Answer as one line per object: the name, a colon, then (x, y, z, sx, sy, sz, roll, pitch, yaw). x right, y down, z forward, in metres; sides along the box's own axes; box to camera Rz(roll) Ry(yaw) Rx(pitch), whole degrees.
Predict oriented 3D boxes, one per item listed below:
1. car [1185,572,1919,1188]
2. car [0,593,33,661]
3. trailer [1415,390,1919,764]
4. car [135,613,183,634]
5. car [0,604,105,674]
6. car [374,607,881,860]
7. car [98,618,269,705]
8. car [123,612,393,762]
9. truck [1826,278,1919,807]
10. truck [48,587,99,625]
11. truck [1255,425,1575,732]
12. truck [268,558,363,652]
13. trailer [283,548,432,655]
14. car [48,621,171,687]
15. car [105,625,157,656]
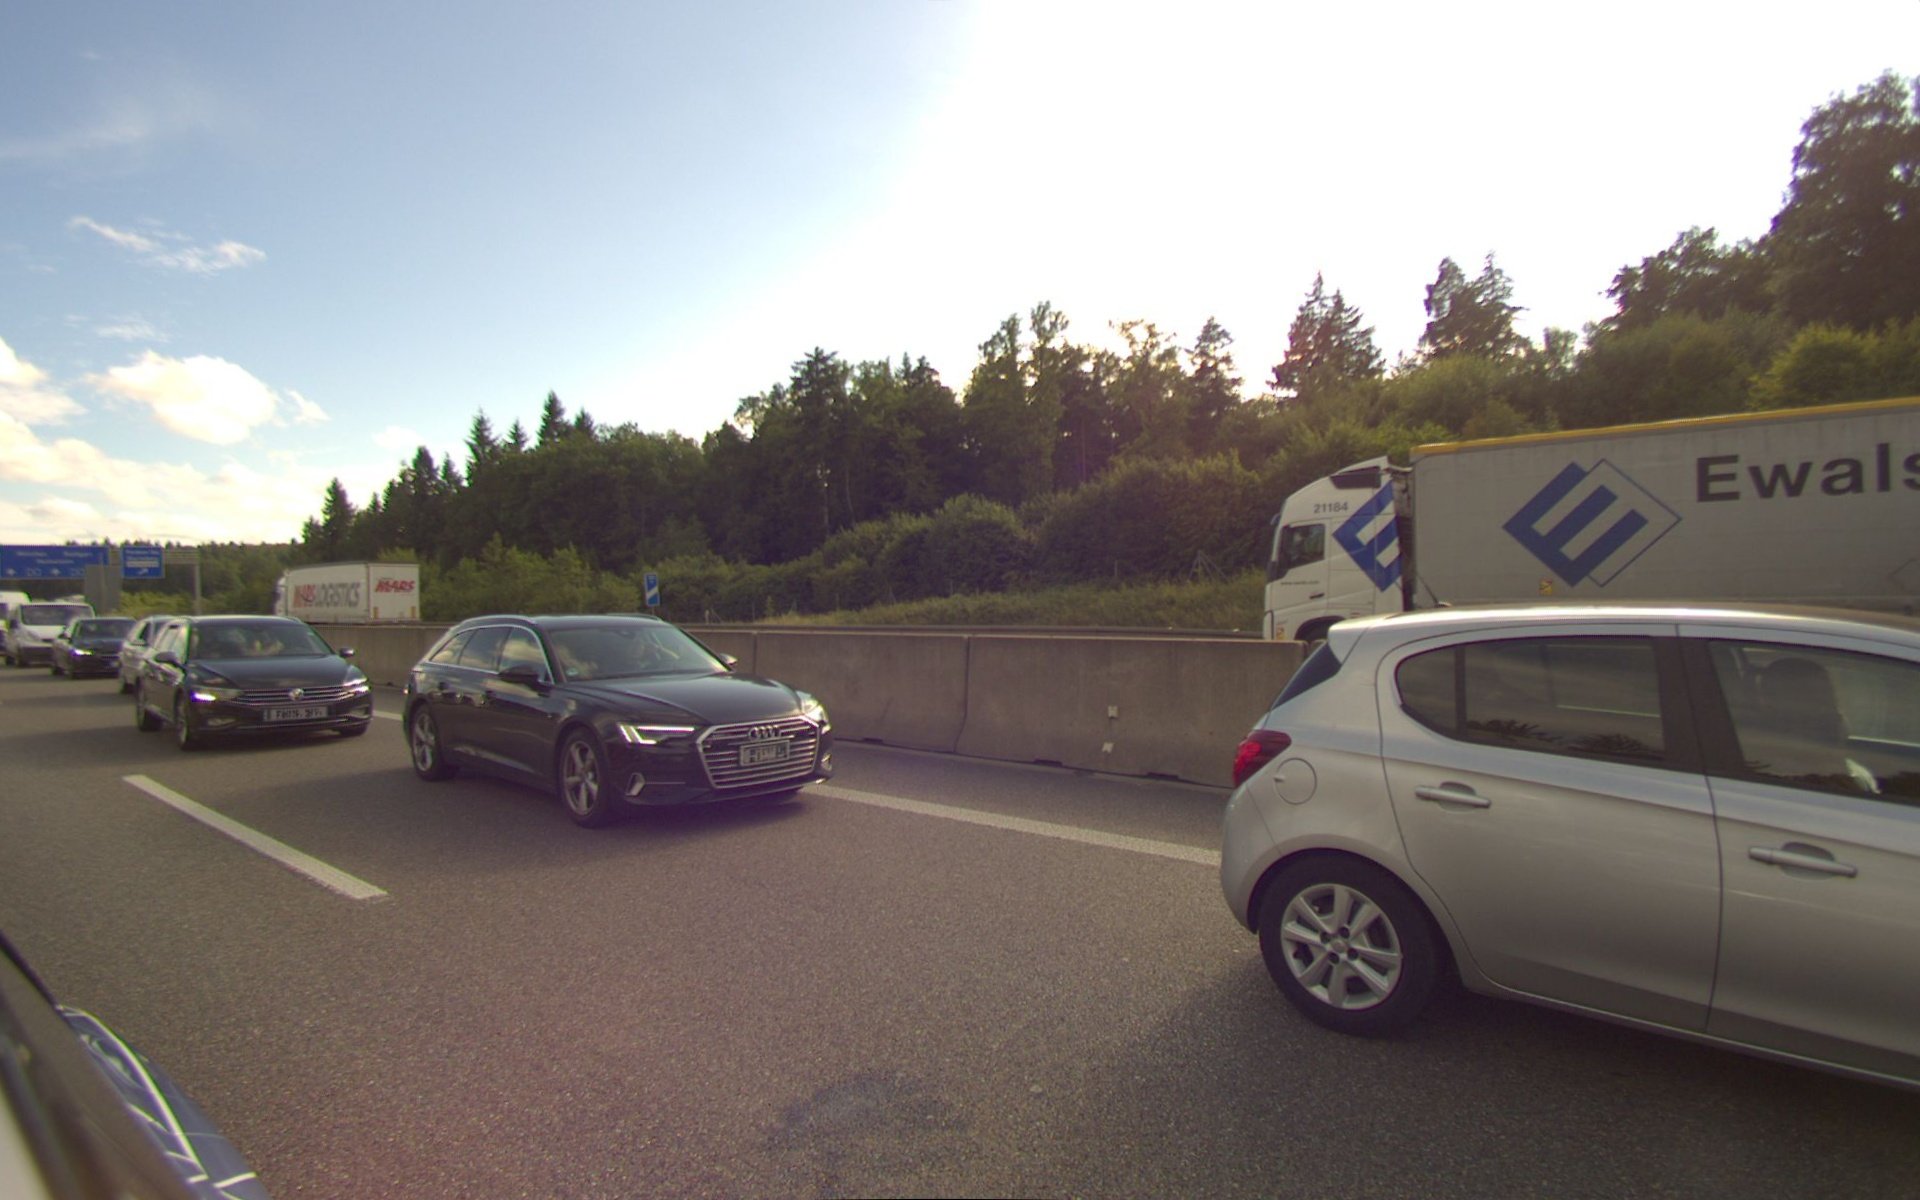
car: (2.914, 0.677, 3.047, 4.039, 1.477, 1.728, -1, -2, 42)
car: (-38.917, 1.066, 40.547, 5.860, 2.591, 2.027, -1, -2, 42)
trailer: (14.229, -0.313, 13.547, 14.647, 4.866, 2.896, 0, 0, 41)
car: (-56.768, 1.660, 71.712, 4.322, 1.438, 1.934, -1, 0, 41)
car: (-28.114, 1.155, 31.285, 4.846, 1.980, 1.922, -1, 0, 42)
car: (-2.992, 0.836, 8.371, 4.851, 1.483, 1.862, -1, 0, 43)
car: (-15.000, 1.087, 19.448, 4.665, 1.442, 1.785, -1, 0, 42)
car: (-8.747, 0.919, 12.436, 4.570, 1.488, 1.890, -1, -1, 44)
truck: (12.500, -0.591, 9.081, 7.138, 5.139, 3.056, -1, 0, 41)
truck: (-108.672, 0.739, 123.920, 13.904, 4.387, 2.902, 0, 0, 41)
truck: (8.370, -0.340, 18.770, 4.763, 4.895, 2.901, -1, 0, 41)
truck: (-38.478, 0.301, 60.339, 6.880, 5.292, 3.007, -1, 0, 41)
trailer: (-33.610, 0.085, 56.018, 13.829, 5.320, 3.010, 0, 0, 41)
car: (-20.981, 1.262, 24.911, 3.993, 1.442, 1.785, -1, 0, 42)
car: (-51.932, 2.528, 63.394, 4.322, 1.823, 1.833, -1, 0, 41)
